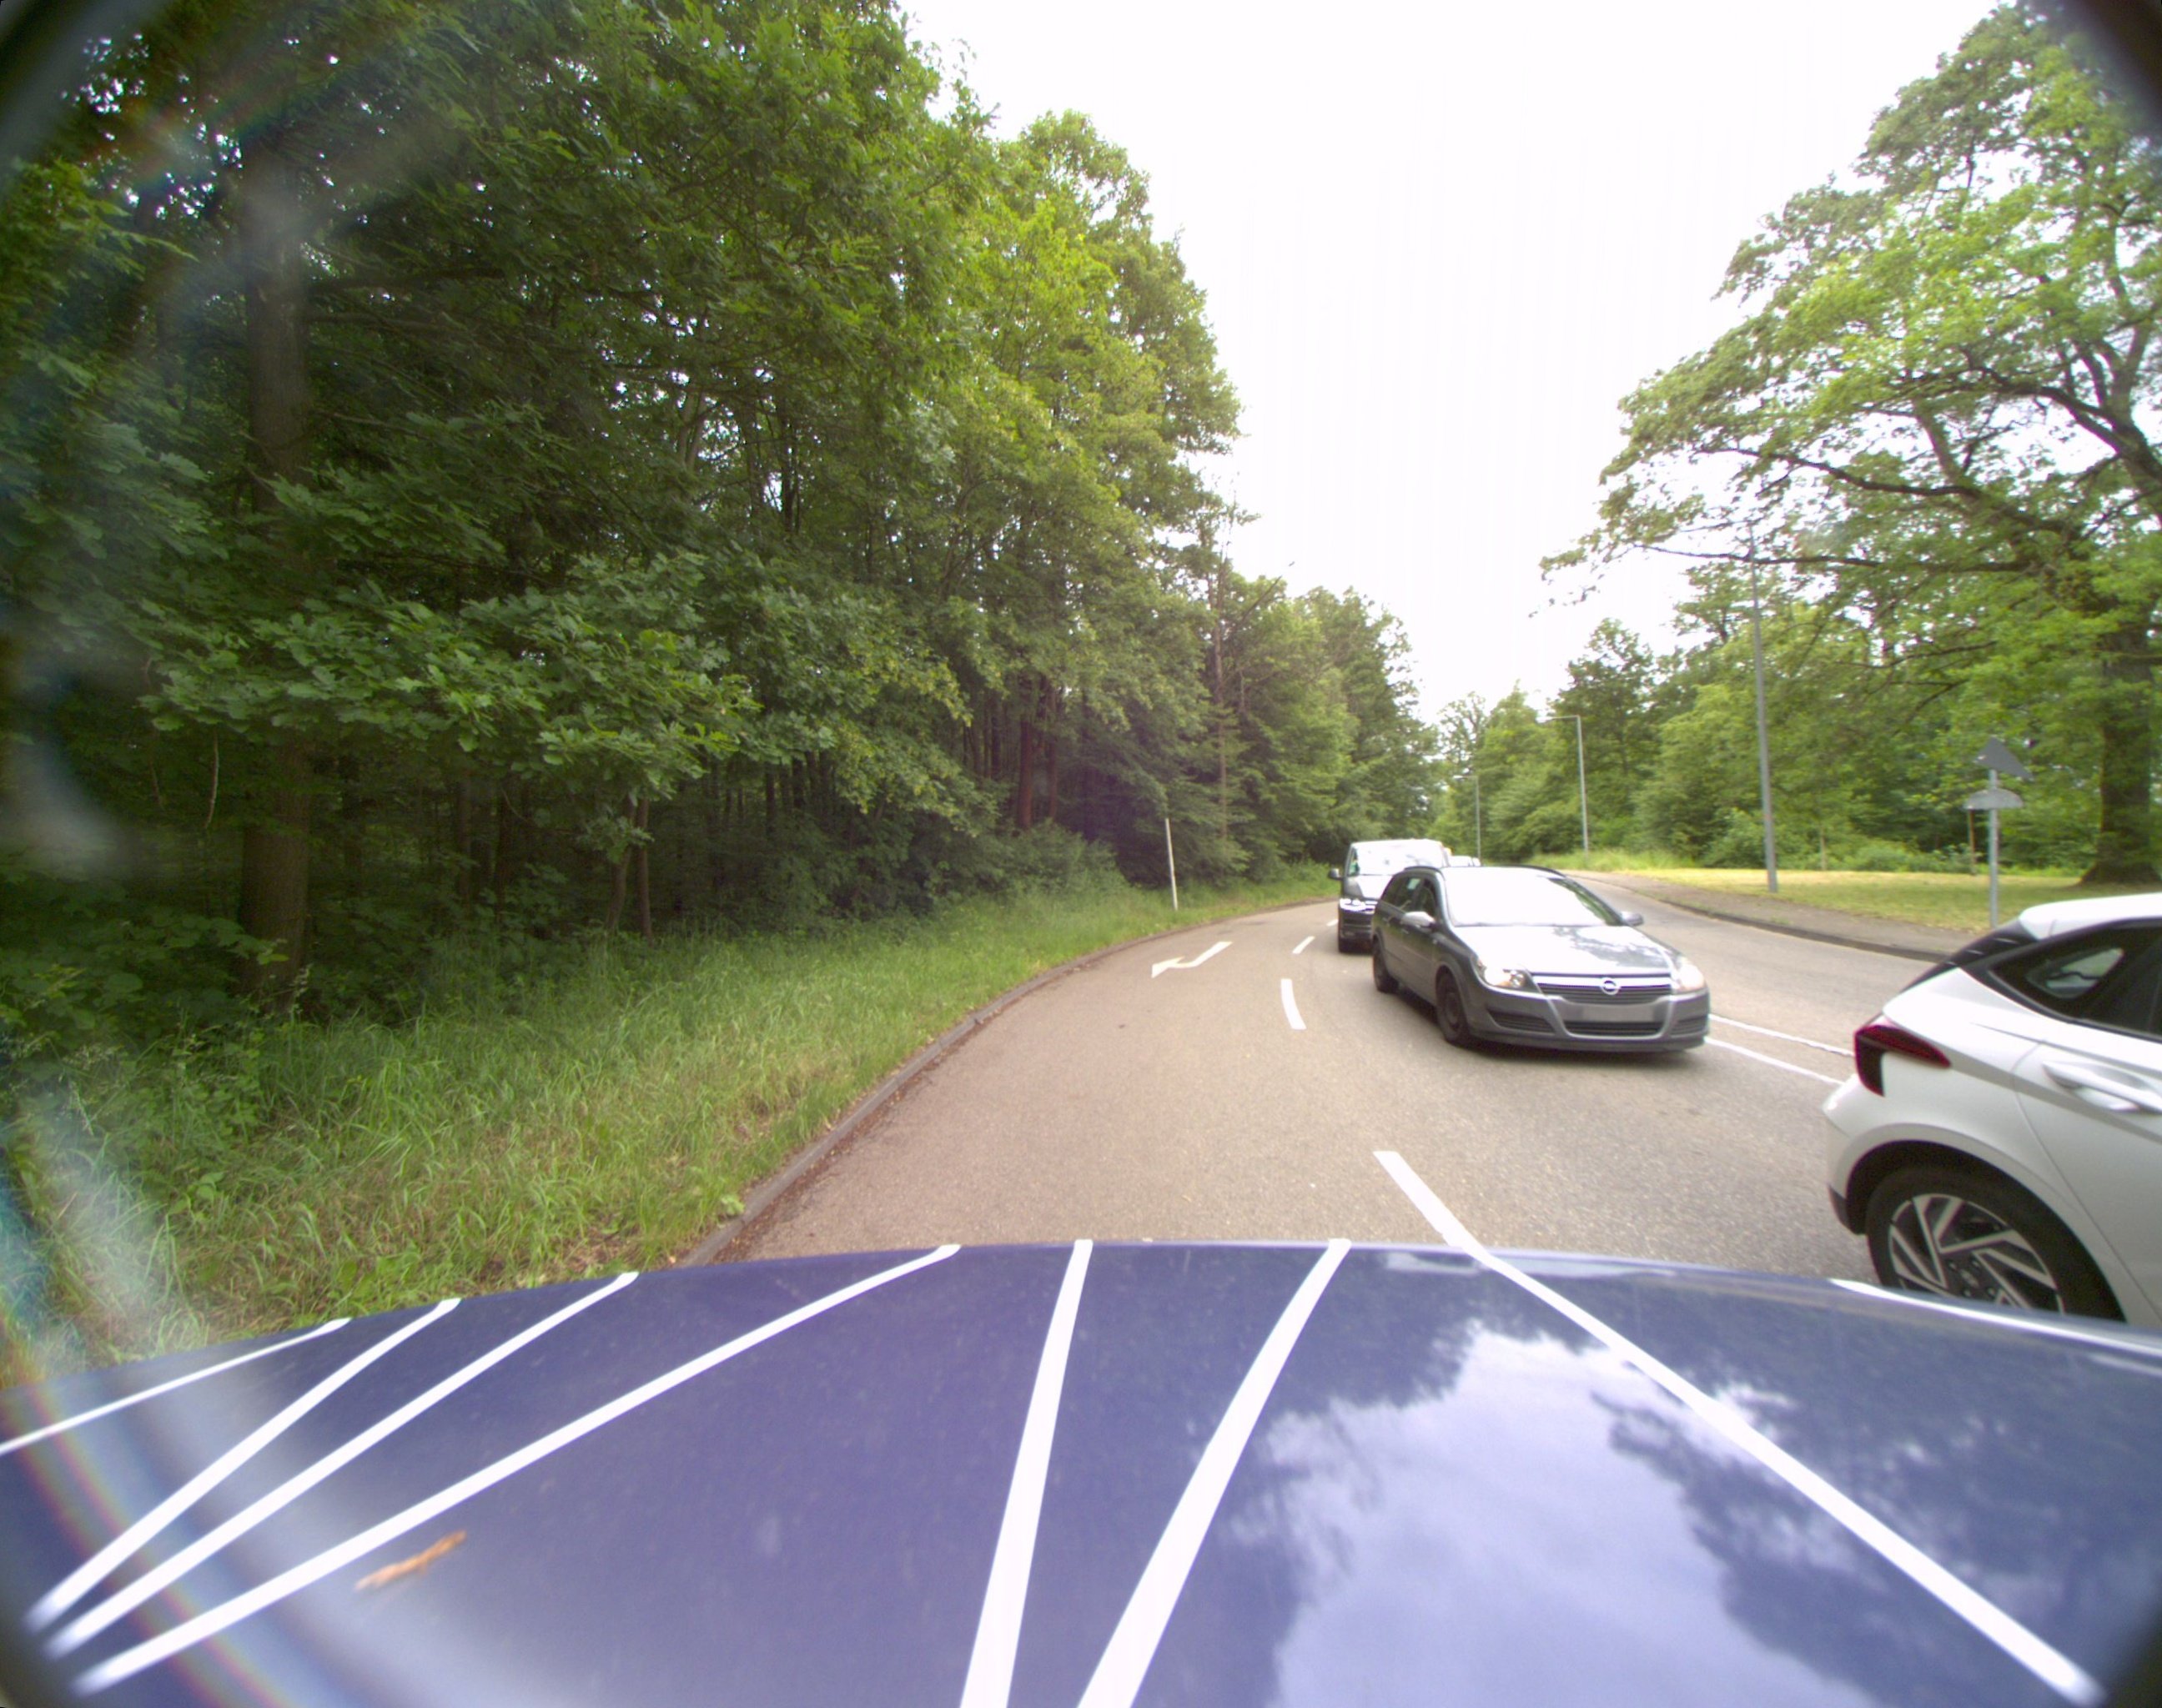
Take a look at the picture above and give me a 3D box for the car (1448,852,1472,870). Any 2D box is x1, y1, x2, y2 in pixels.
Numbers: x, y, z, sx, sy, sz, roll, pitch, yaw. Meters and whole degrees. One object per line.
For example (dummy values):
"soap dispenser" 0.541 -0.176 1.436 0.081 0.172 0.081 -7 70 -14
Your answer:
"car" 34.177 0.609 68.472 1.775 1.490 3.880 -2 -1 28

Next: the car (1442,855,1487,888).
"car" 18.320 0.807 36.412 1.775 1.490 3.880 -2 -1 25

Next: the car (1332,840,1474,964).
"car" 5.734 0.759 13.838 1.987 1.861 4.539 -1 -1 21

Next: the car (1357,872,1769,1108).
"car" 4.000 0.961 7.317 1.801 1.470 4.474 -1 -1 11

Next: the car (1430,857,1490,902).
"car" 13.473 0.864 27.171 1.775 1.490 3.880 -2 -1 25

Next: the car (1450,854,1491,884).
"car" 20.962 0.800 41.023 1.775 1.490 3.880 -2 -1 25

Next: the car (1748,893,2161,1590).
"car" 3.147 0.858 0.666 1.653 1.470 4.074 -1 -1 3

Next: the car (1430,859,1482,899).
"car" 15.210 0.977 30.950 1.775 1.490 3.880 -2 -1 25

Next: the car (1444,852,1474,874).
"car" 26.691 0.638 53.584 1.775 1.490 3.880 -2 -1 28
